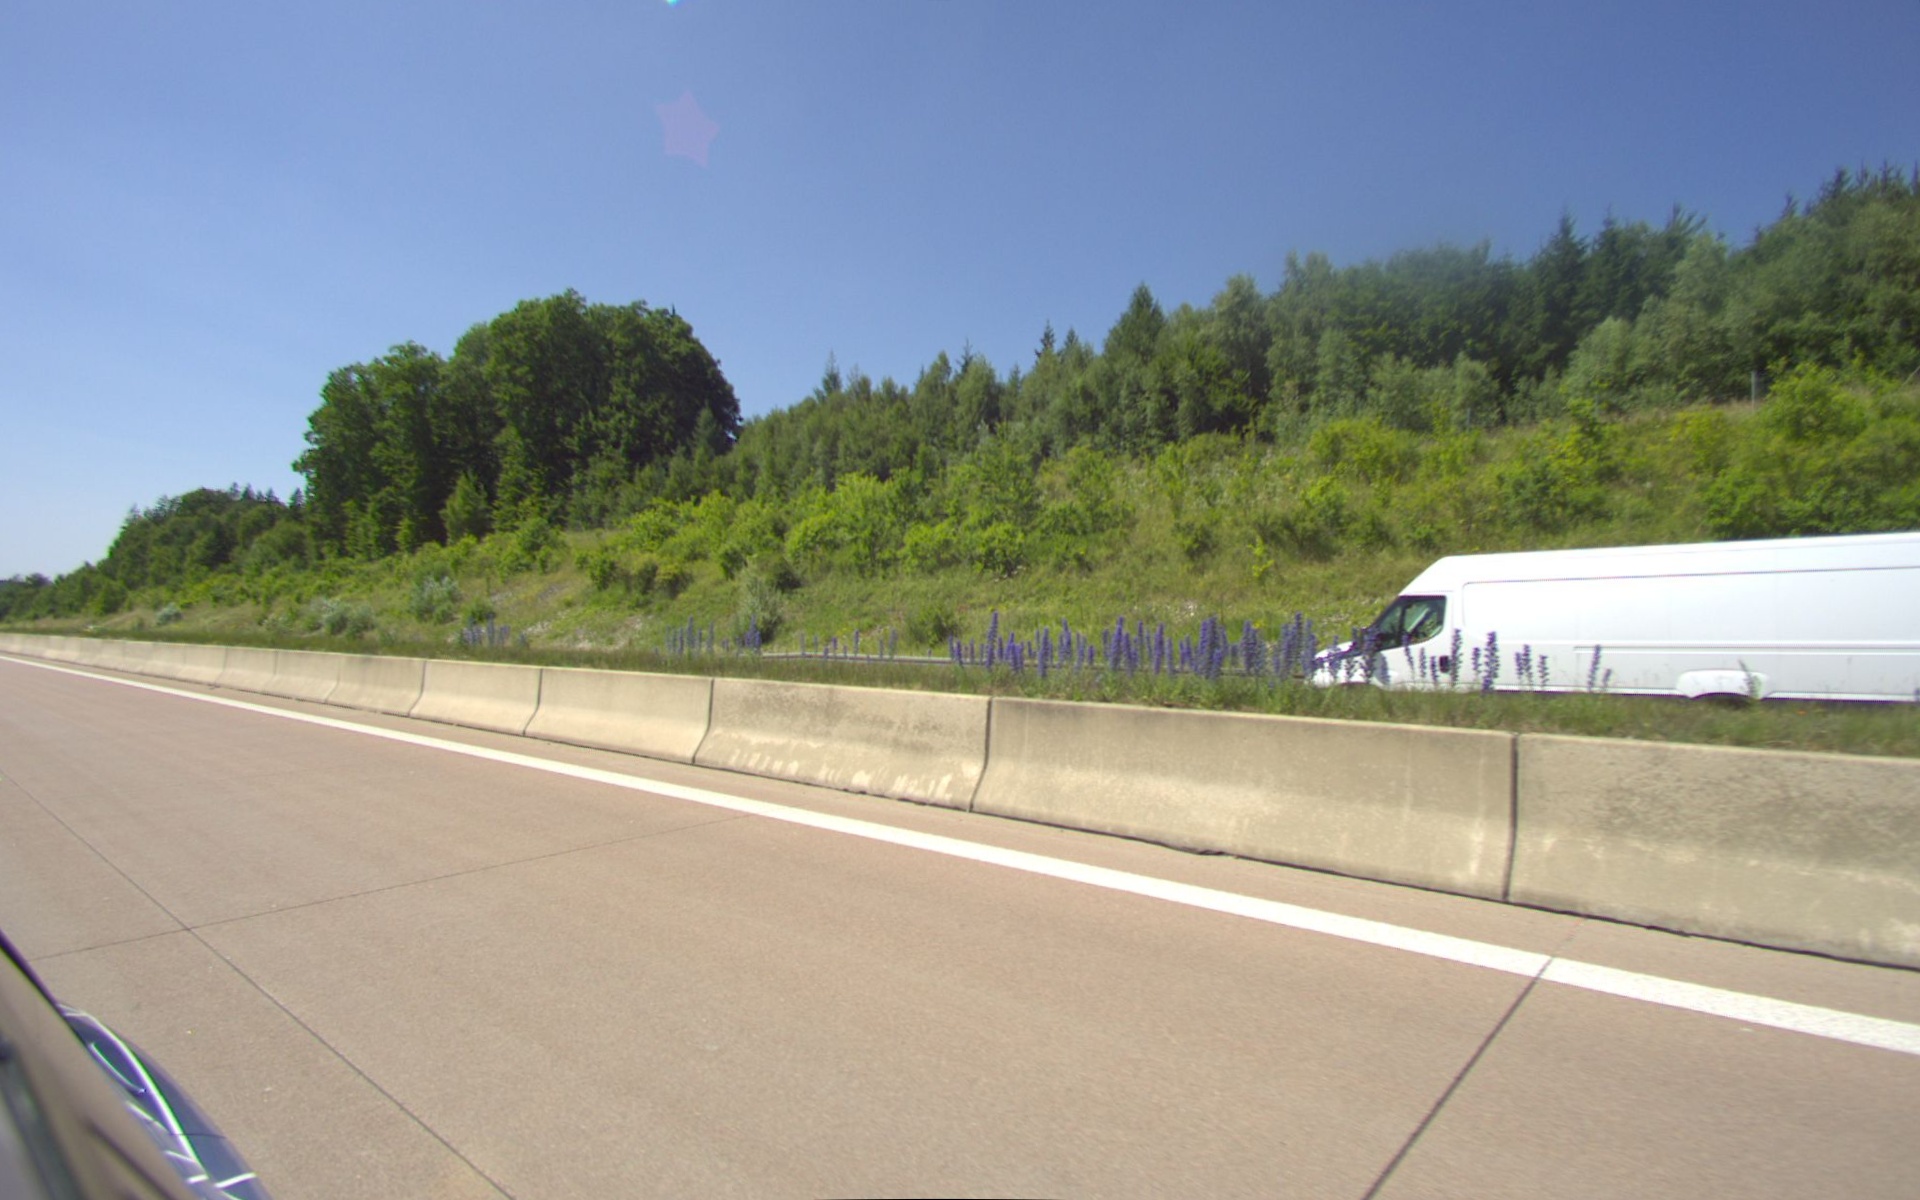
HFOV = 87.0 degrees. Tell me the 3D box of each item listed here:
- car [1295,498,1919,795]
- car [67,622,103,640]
[{"bbox_3d":[8.409,0.565,12.869,7.498,2.992,2.384,-3,-2,41],"label":"car"},{"bbox_3d":[-86.508,3.077,100.039,4.658,1.664,1.872,-3,-2,39],"label":"car"}]
